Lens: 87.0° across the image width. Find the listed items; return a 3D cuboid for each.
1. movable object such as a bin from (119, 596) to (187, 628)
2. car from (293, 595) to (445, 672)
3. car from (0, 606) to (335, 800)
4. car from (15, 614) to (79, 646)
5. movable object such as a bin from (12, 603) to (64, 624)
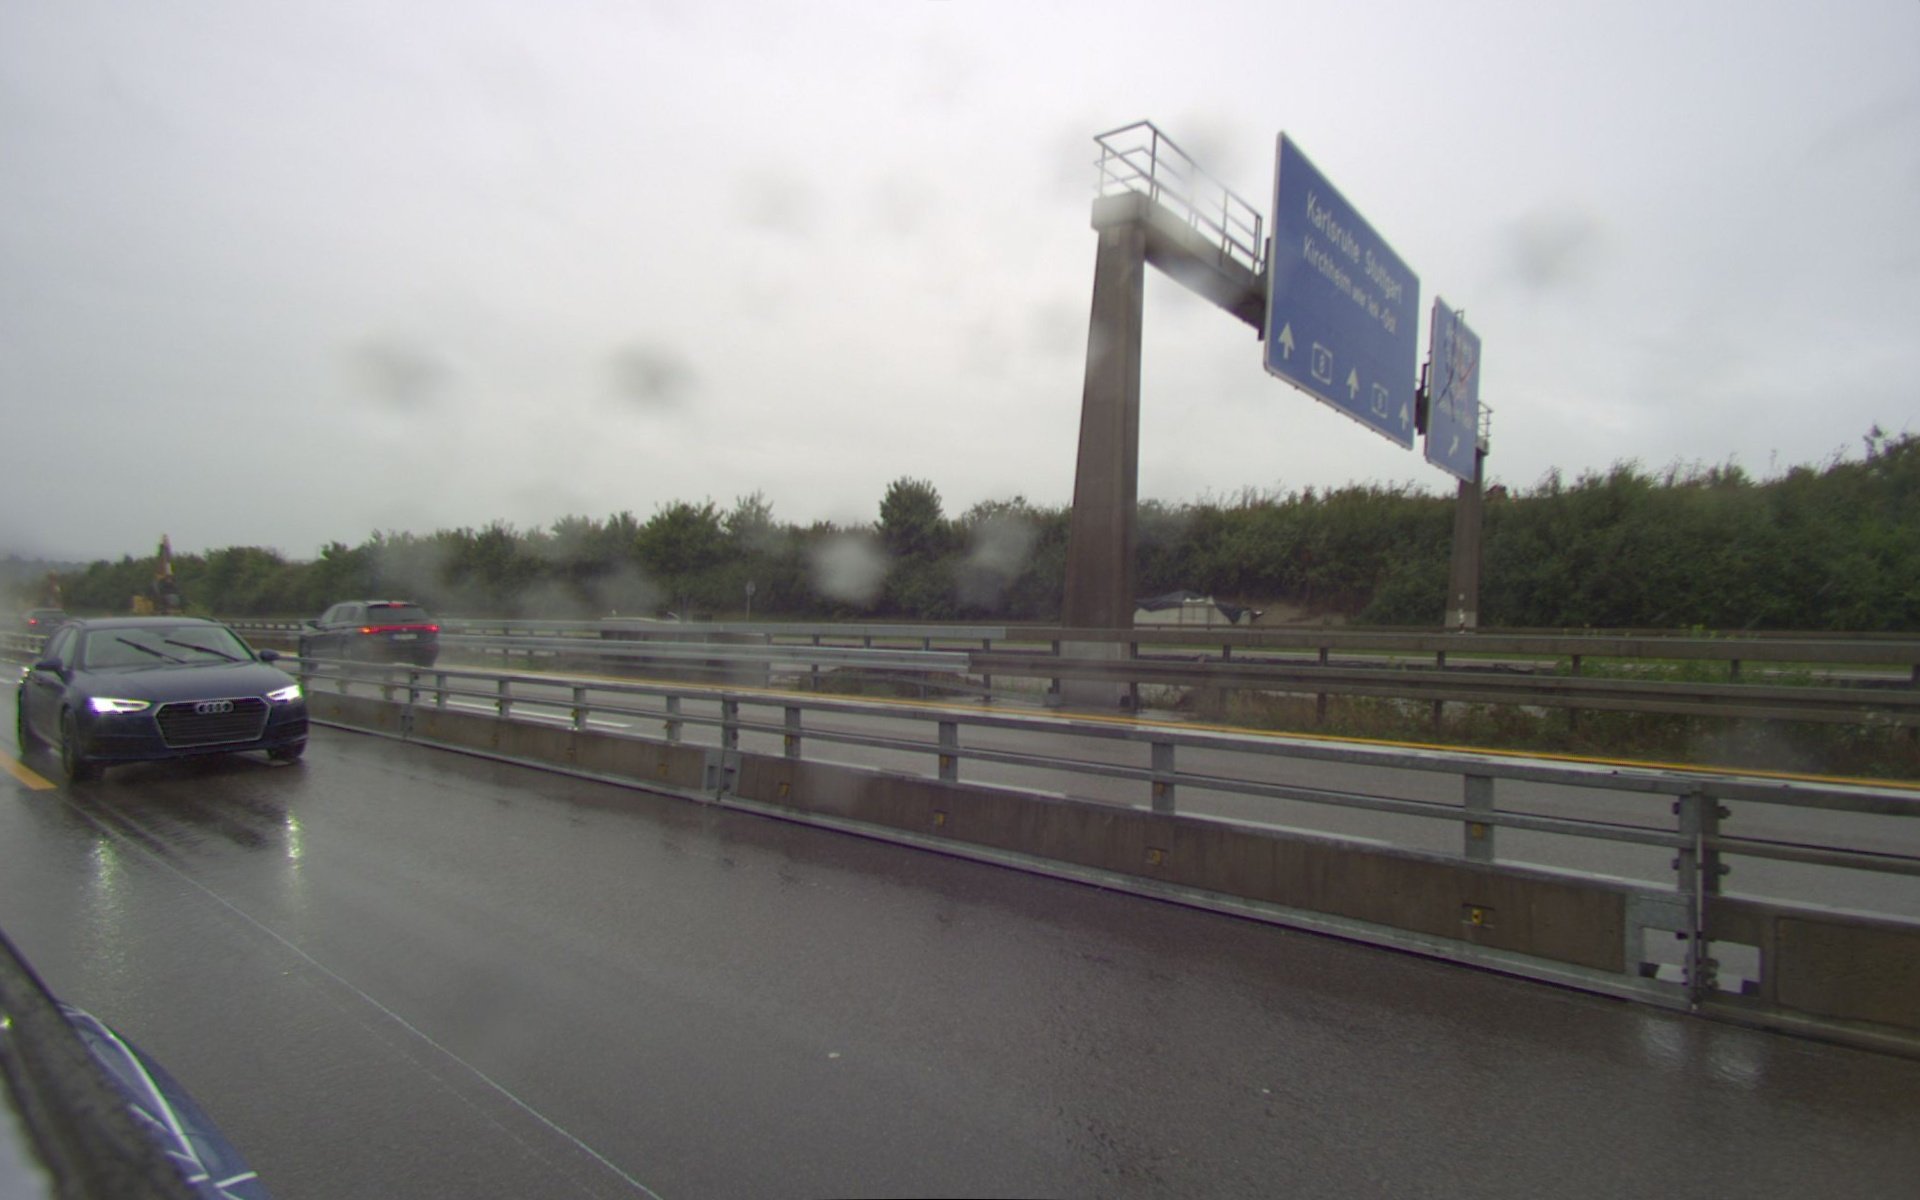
[{"bbox_3d":[-75.983,1.101,95.285,6.323,2.819,3.728,-1,0,39],"label":"movable object such as a bin"},{"bbox_3d":[-13.809,0.716,23.552,4.314,1.616,1.760,-1,0,41],"label":"car"},{"bbox_3d":[-8.250,0.835,10.315,4.629,1.509,1.972,-1,0,42],"label":"car"},{"bbox_3d":[-46.115,1.474,51.094,4.126,1.514,1.829,-1,0,39],"label":"car"},{"bbox_3d":[-109.213,1.576,119.880,5.085,2.312,3.412,-1,0,32],"label":"movable object such as a bin"}]
